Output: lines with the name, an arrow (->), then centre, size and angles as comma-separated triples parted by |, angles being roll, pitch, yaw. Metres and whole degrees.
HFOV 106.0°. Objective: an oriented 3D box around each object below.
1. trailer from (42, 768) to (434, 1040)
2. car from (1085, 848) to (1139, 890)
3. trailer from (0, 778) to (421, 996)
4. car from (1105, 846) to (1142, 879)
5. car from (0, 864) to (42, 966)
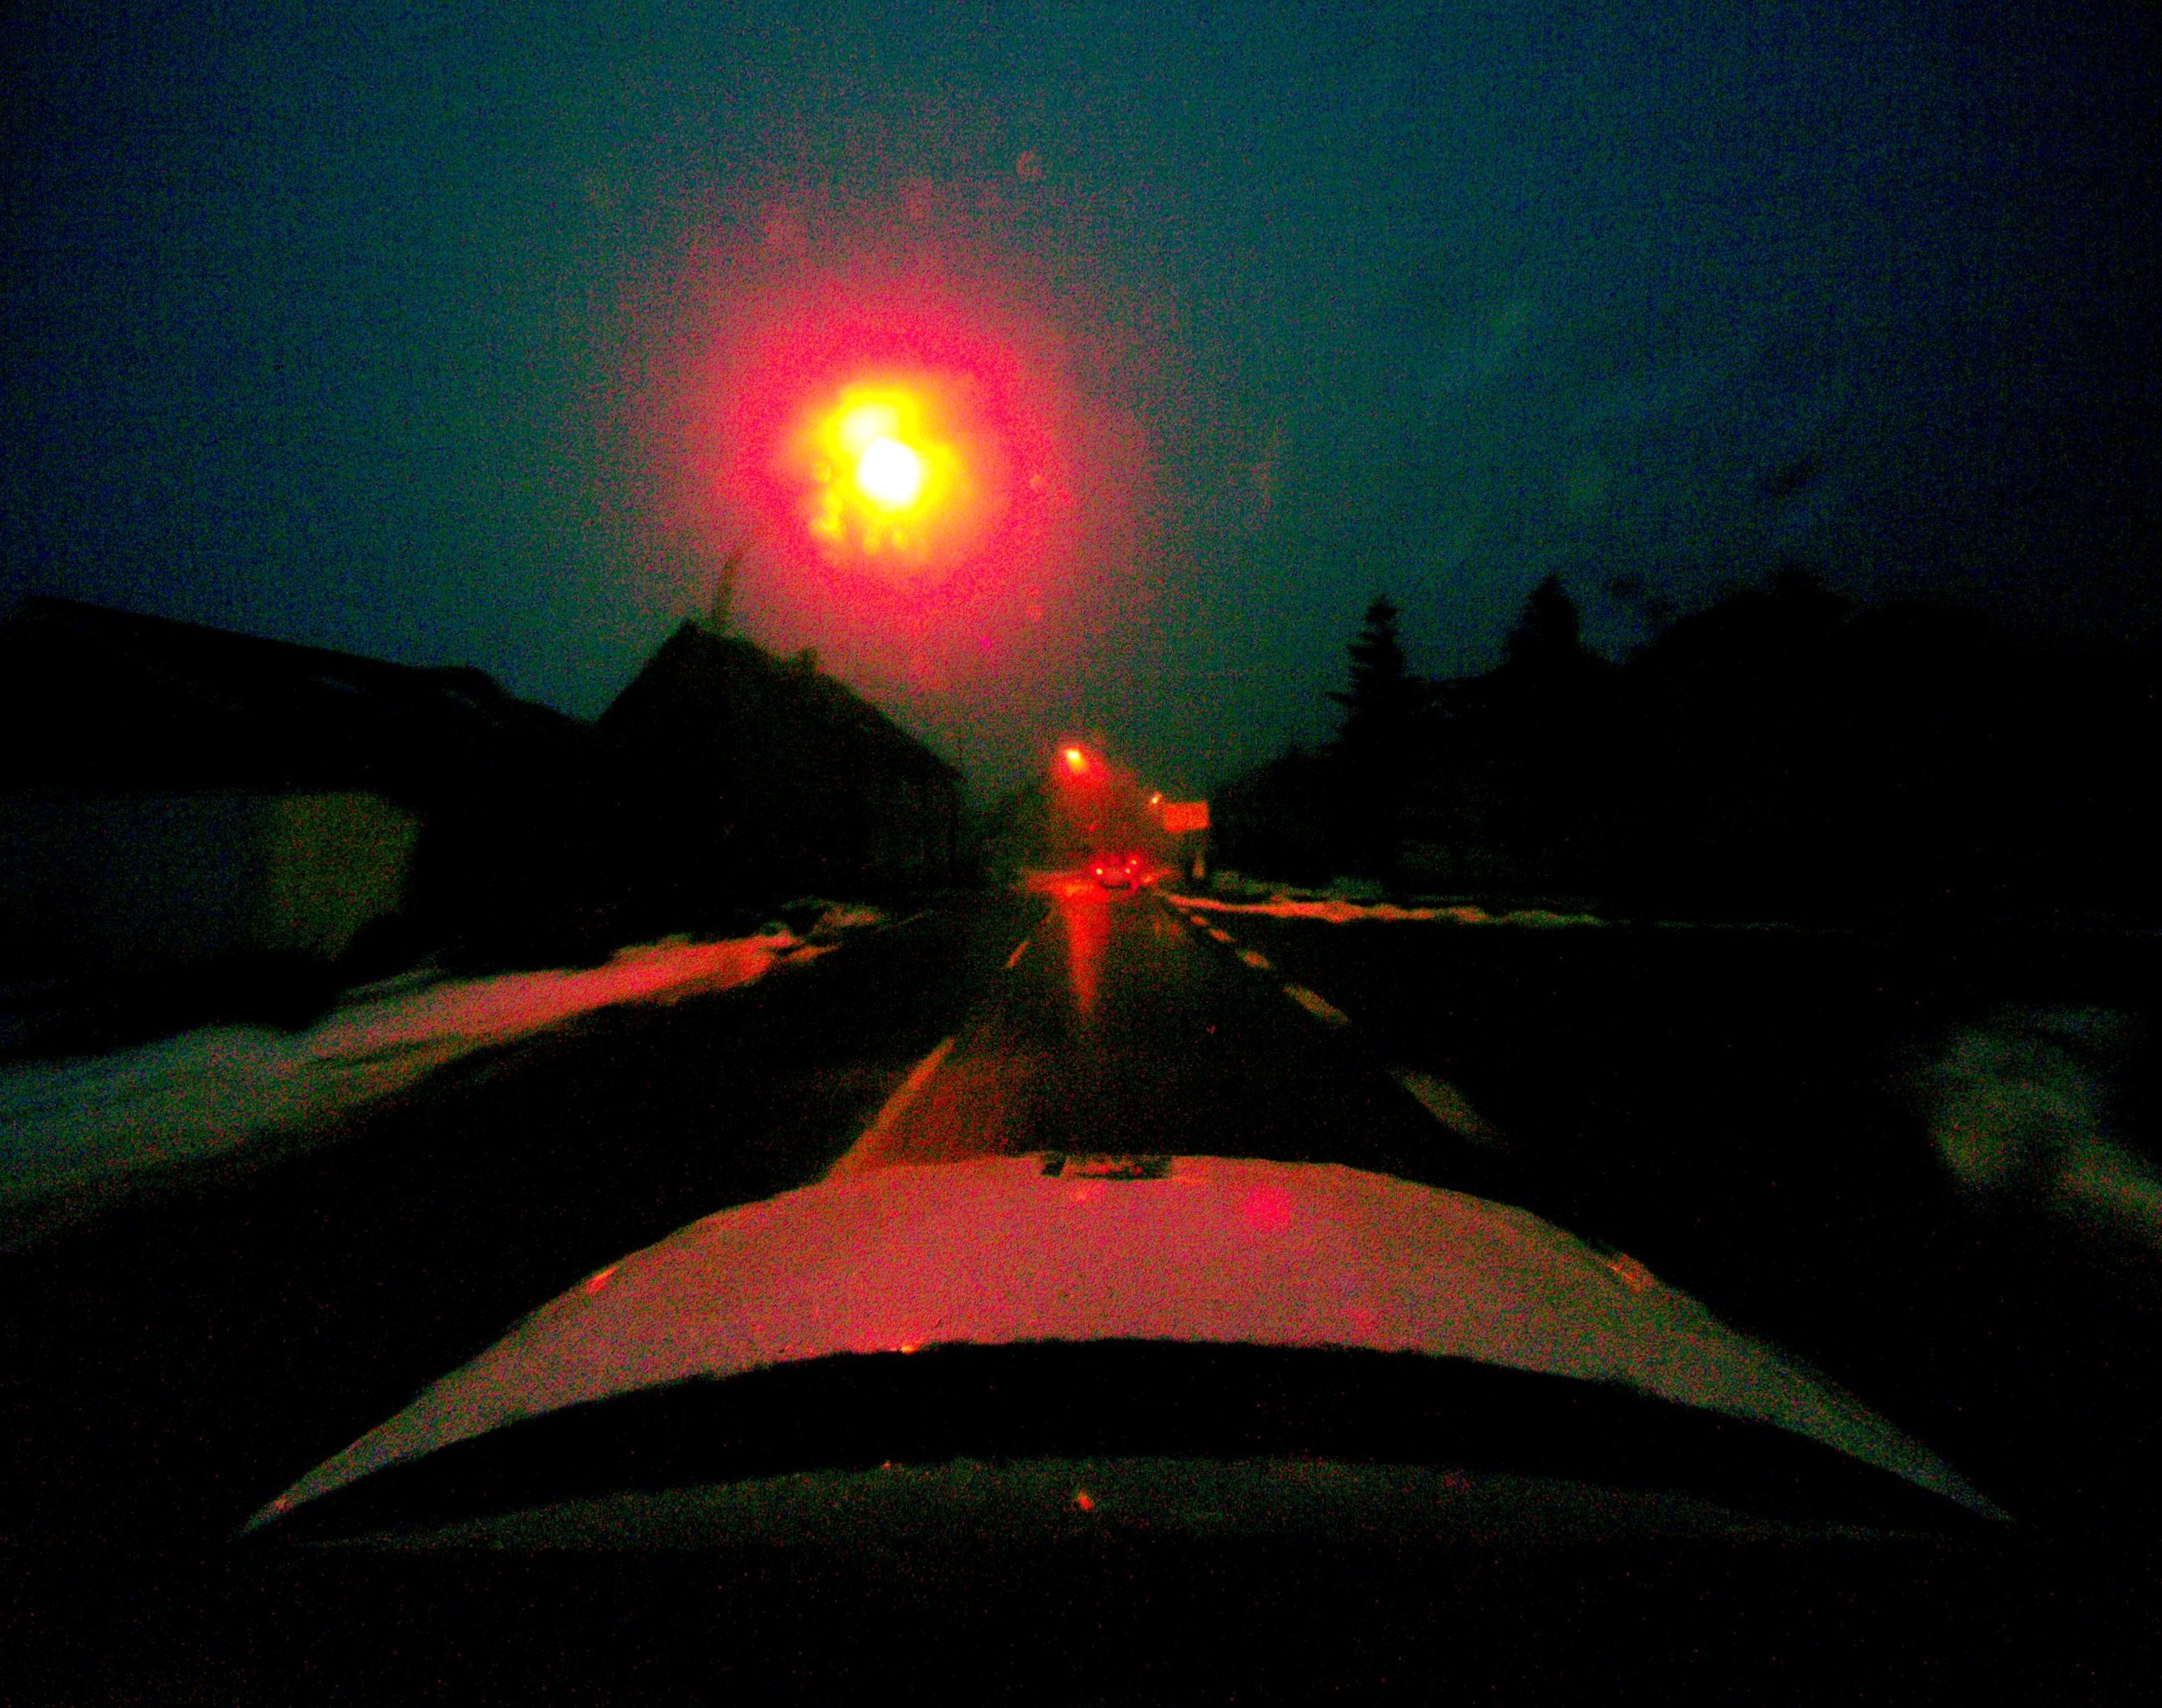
trailer -> -9.813, 0.466, 9.930 | 1.694, 2.604, 3.424 | -5, 2, -18
car -> 1.468, 0.606, 36.461 | 1.983, 1.507, 4.008 | -5, 2, 7
trailer -> -12.335, 0.346, 11.611 | 1.981, 2.489, 4.022 | -4, 2, 10
car -> 2.870, 0.504, 54.038 | 1.982, 1.837, 4.010 | -5, 2, 8
car -> -19.862, 1.200, 12.641 | 1.980, 1.716, 4.014 | -4, 2, 12
